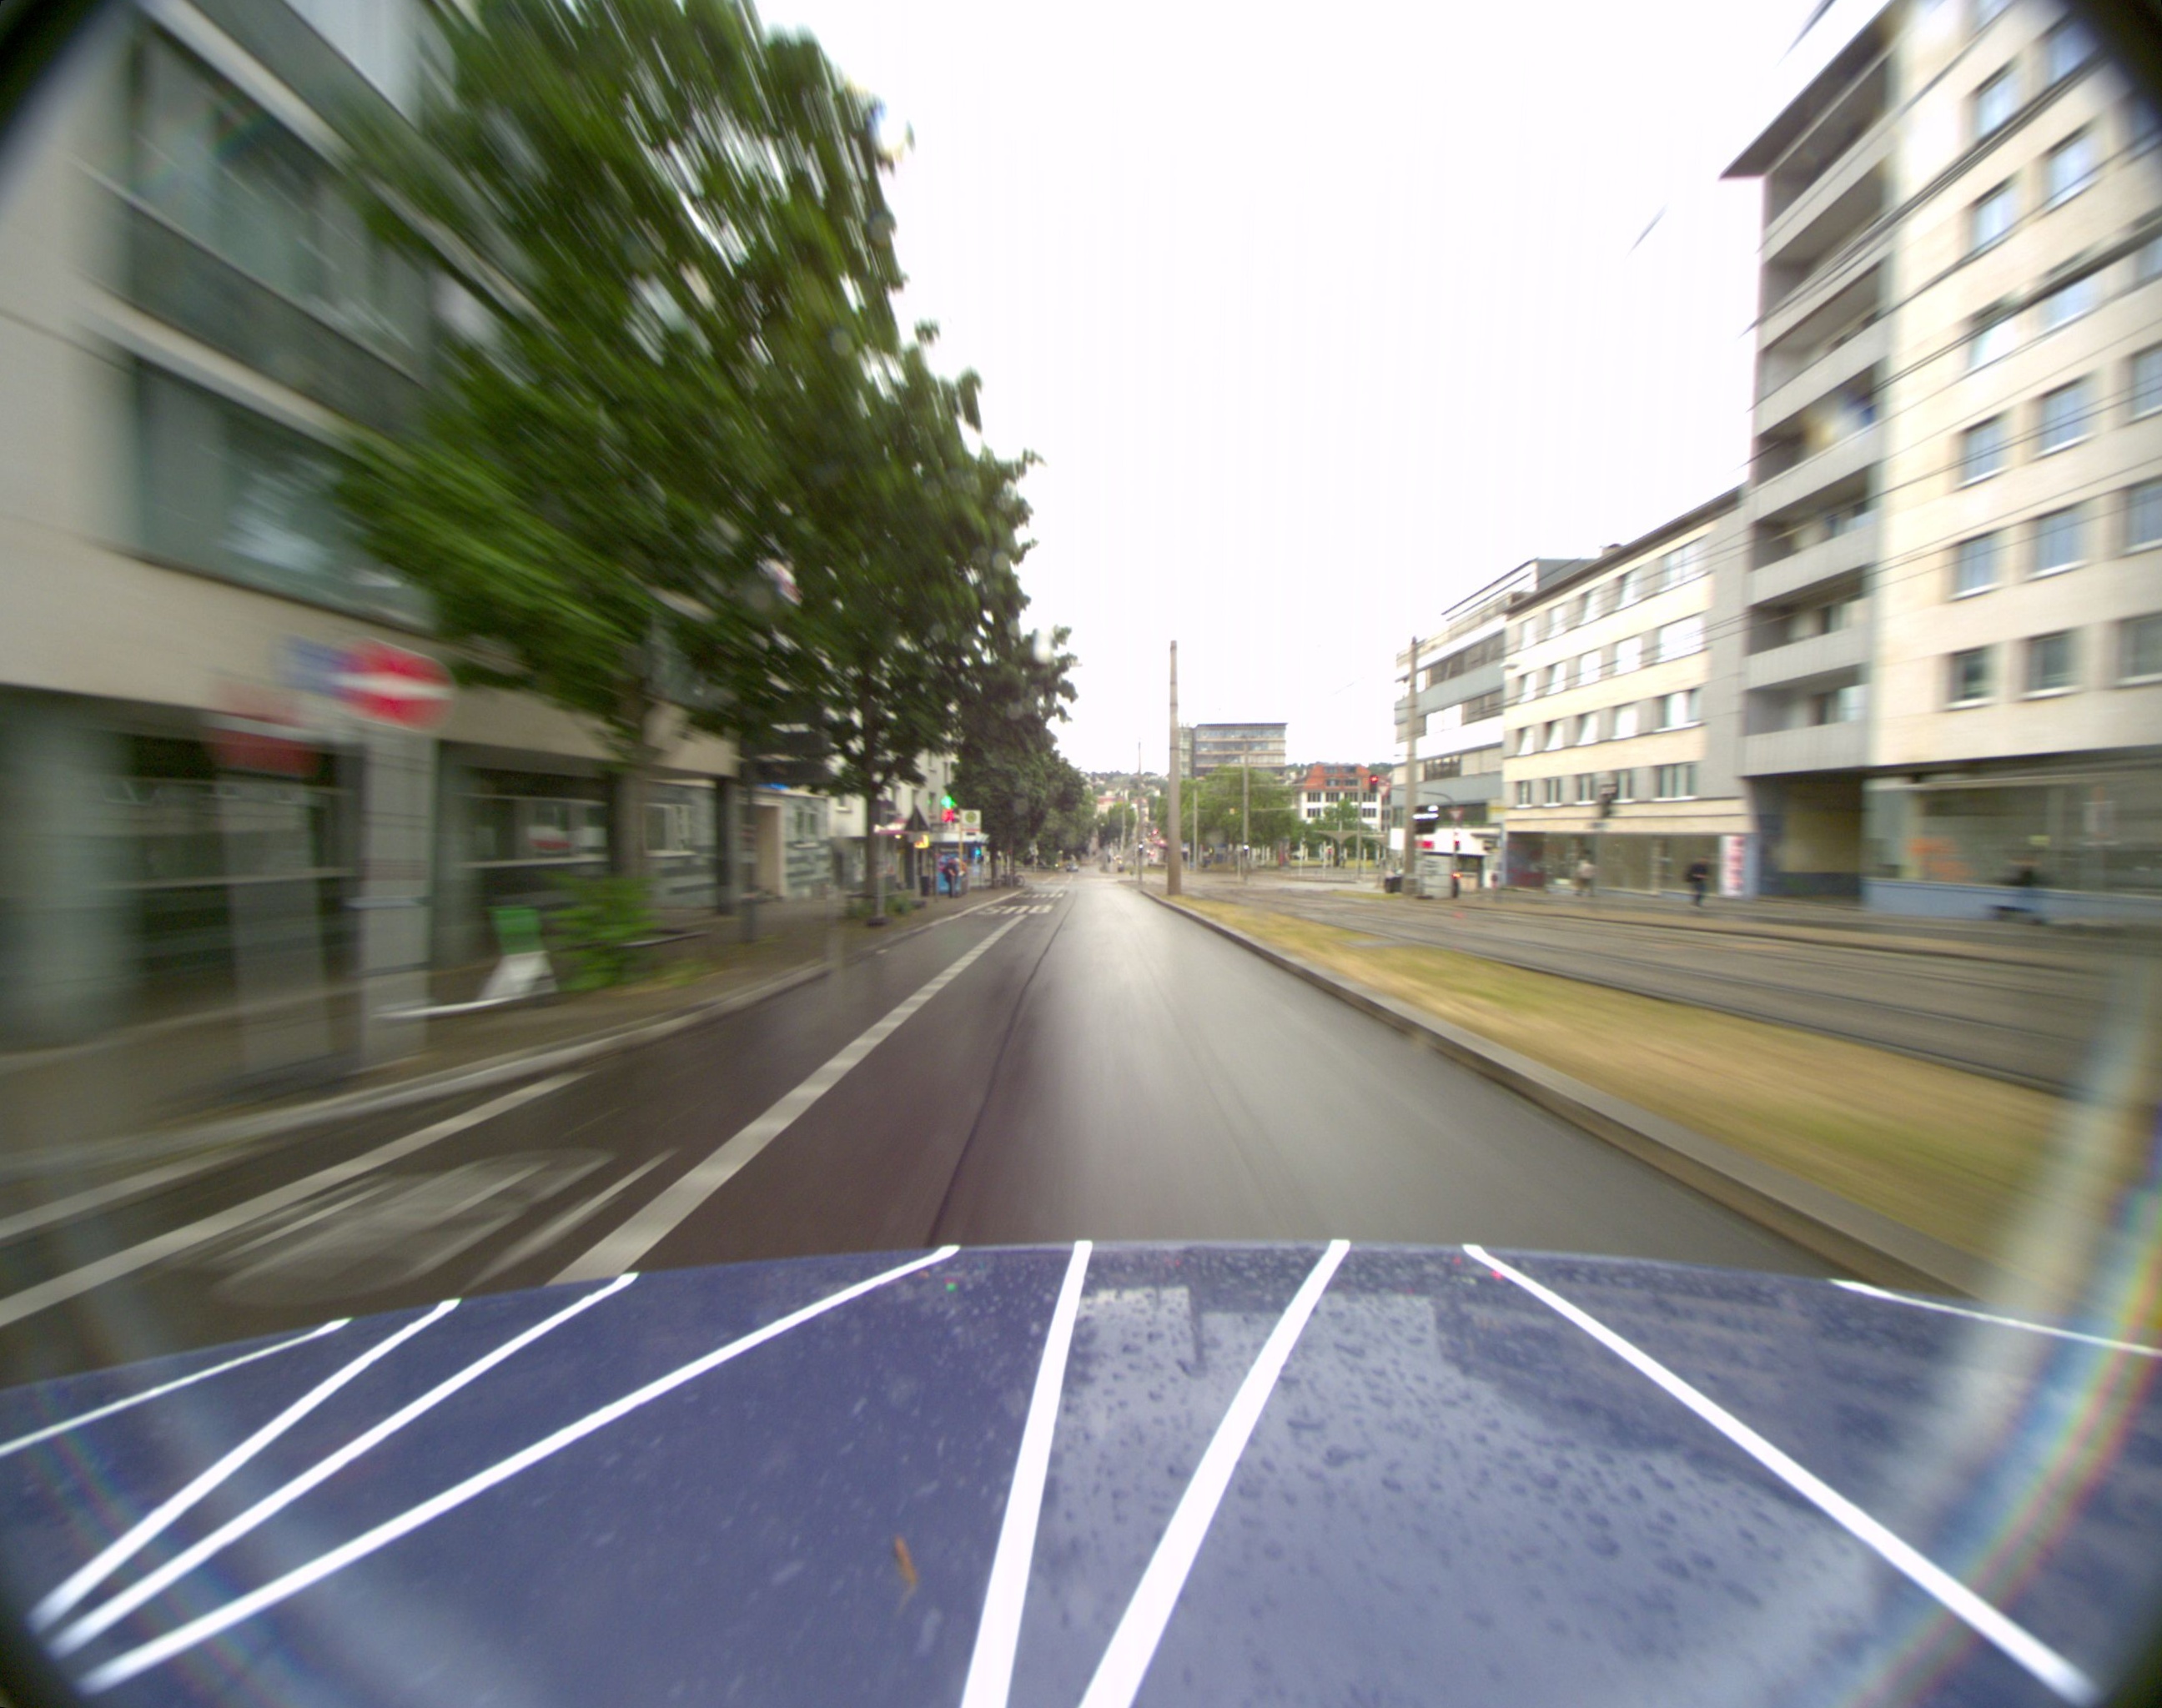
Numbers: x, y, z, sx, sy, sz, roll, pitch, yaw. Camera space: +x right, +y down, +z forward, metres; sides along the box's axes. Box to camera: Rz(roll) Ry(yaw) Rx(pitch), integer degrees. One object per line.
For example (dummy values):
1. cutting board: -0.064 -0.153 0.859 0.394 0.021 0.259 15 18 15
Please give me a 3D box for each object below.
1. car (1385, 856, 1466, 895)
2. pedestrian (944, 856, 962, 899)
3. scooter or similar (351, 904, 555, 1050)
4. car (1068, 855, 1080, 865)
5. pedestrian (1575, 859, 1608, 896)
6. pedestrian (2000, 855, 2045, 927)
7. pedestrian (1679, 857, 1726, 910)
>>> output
1. car: 15.226 0.918 33.828 1.824 1.623 3.867 -1 -1 -1
2. pedestrian: -4.905 0.902 29.198 0.560 1.614 0.485 -1 0 2
3. scooter or similar: -5.847 1.106 7.169 1.386 1.173 0.511 -1 2 -30
4. car: -1.001 0.856 110.613 1.620 1.455 3.588 -1 -1 1
5. pedestrian: 22.316 1.020 33.229 0.791 1.583 0.892 -1 0 0
6. pedestrian: 22.000 0.852 17.760 0.525 1.660 0.436 -1 1 0
7. pedestrian: 20.470 0.955 25.044 0.787 1.697 0.893 -1 0 5
